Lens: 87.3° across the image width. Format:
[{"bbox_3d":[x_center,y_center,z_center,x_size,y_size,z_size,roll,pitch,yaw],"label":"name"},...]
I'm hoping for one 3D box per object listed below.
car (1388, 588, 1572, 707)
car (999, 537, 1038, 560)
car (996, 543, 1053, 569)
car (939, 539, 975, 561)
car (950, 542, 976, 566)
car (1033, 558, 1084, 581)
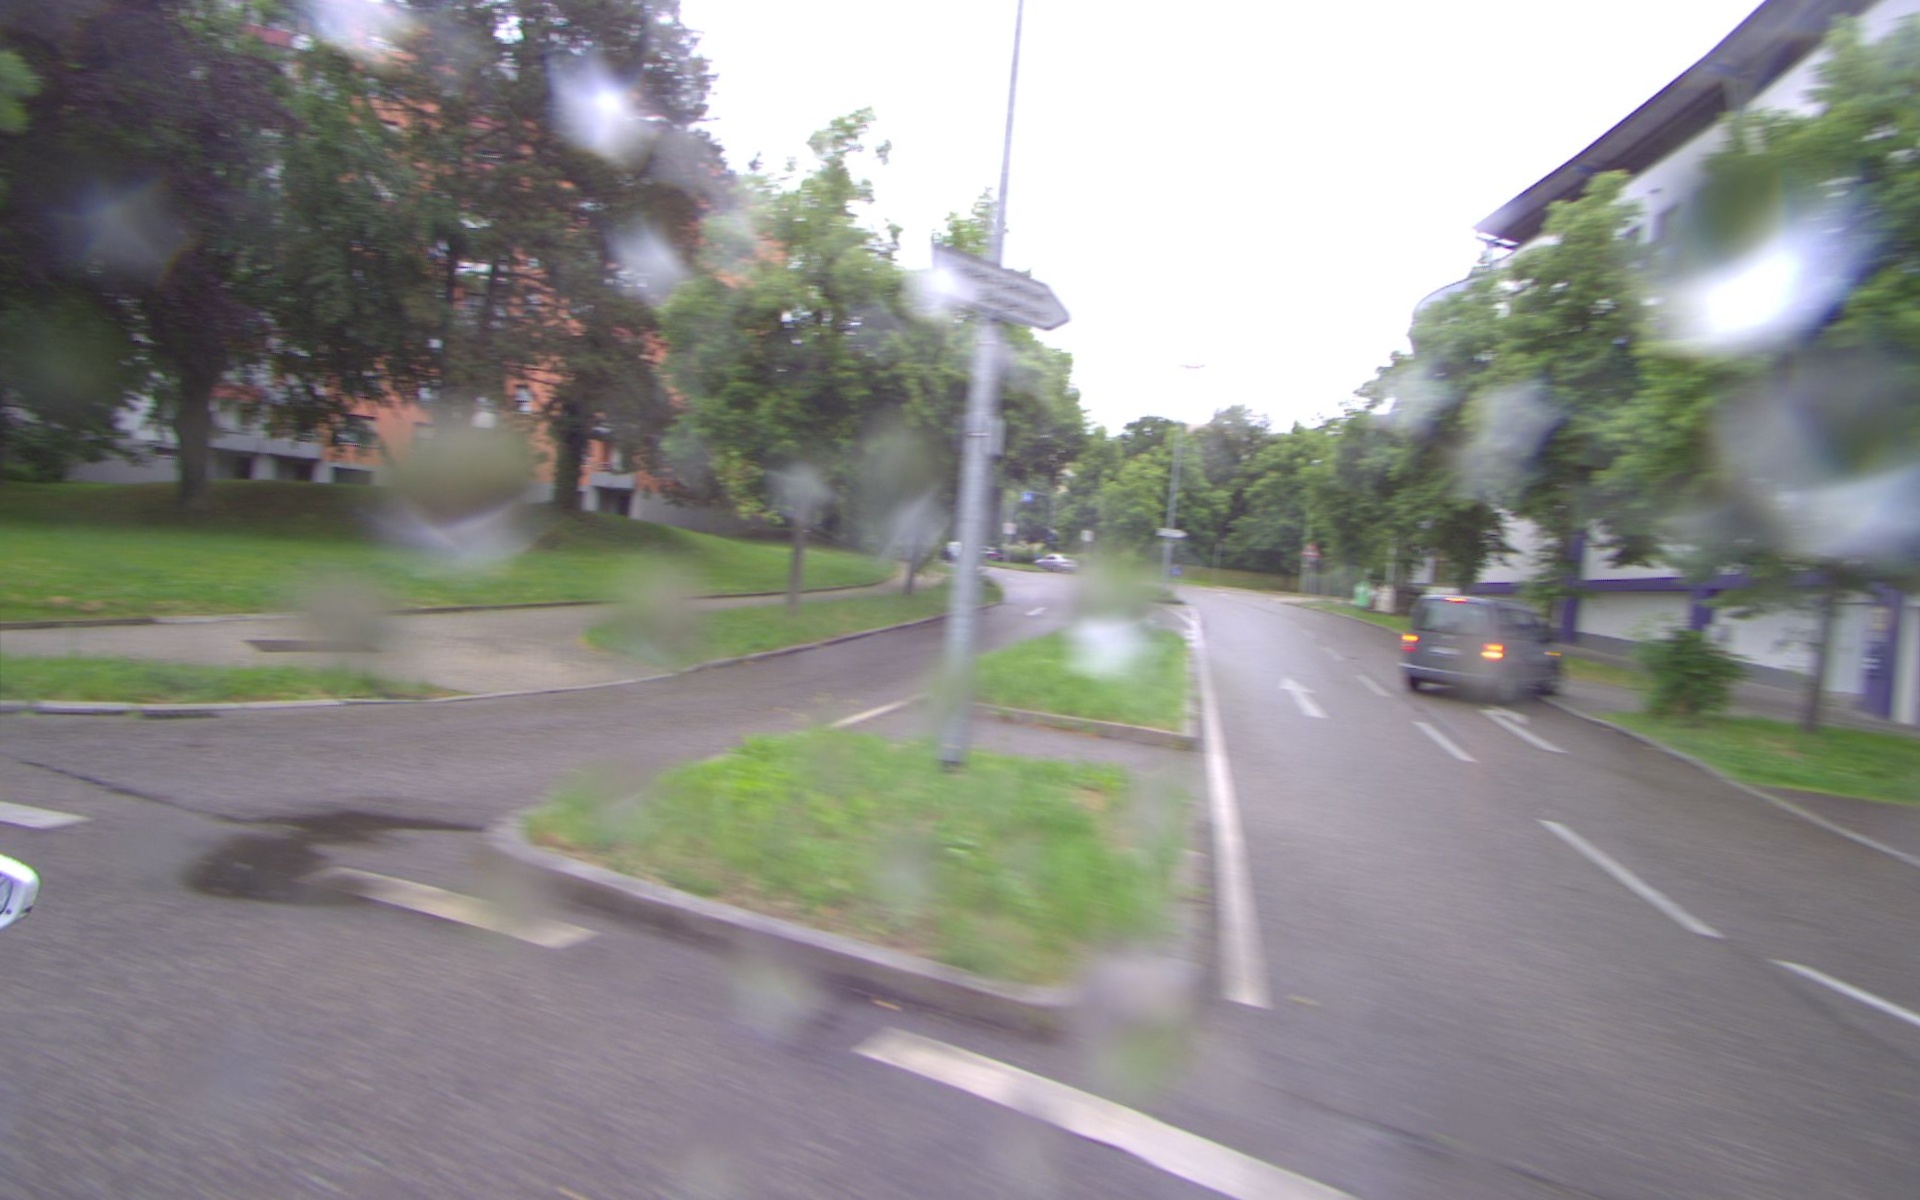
[{"bbox_3d":[9.782,0.817,18.815,1.899,1.827,3.762,9,6,44],"label":"car"},{"bbox_3d":[5.517,-4.886,95.173,1.829,1.898,3.833,4,2,-28],"label":"car"},{"bbox_3d":[5.142,-3.514,80.291,4.036,1.639,1.823,6,2,33],"label":"car"},{"bbox_3d":[-0.322,-5.104,102.414,1.974,1.898,3.973,4,2,-26],"label":"car"},{"bbox_3d":[0.265,-3.697,81.810,1.598,1.457,3.601,8,-1,6],"label":"car"},{"bbox_3d":[7.961,-2.476,81.483,1.867,1.586,3.963,4,2,-34],"label":"car"}]
